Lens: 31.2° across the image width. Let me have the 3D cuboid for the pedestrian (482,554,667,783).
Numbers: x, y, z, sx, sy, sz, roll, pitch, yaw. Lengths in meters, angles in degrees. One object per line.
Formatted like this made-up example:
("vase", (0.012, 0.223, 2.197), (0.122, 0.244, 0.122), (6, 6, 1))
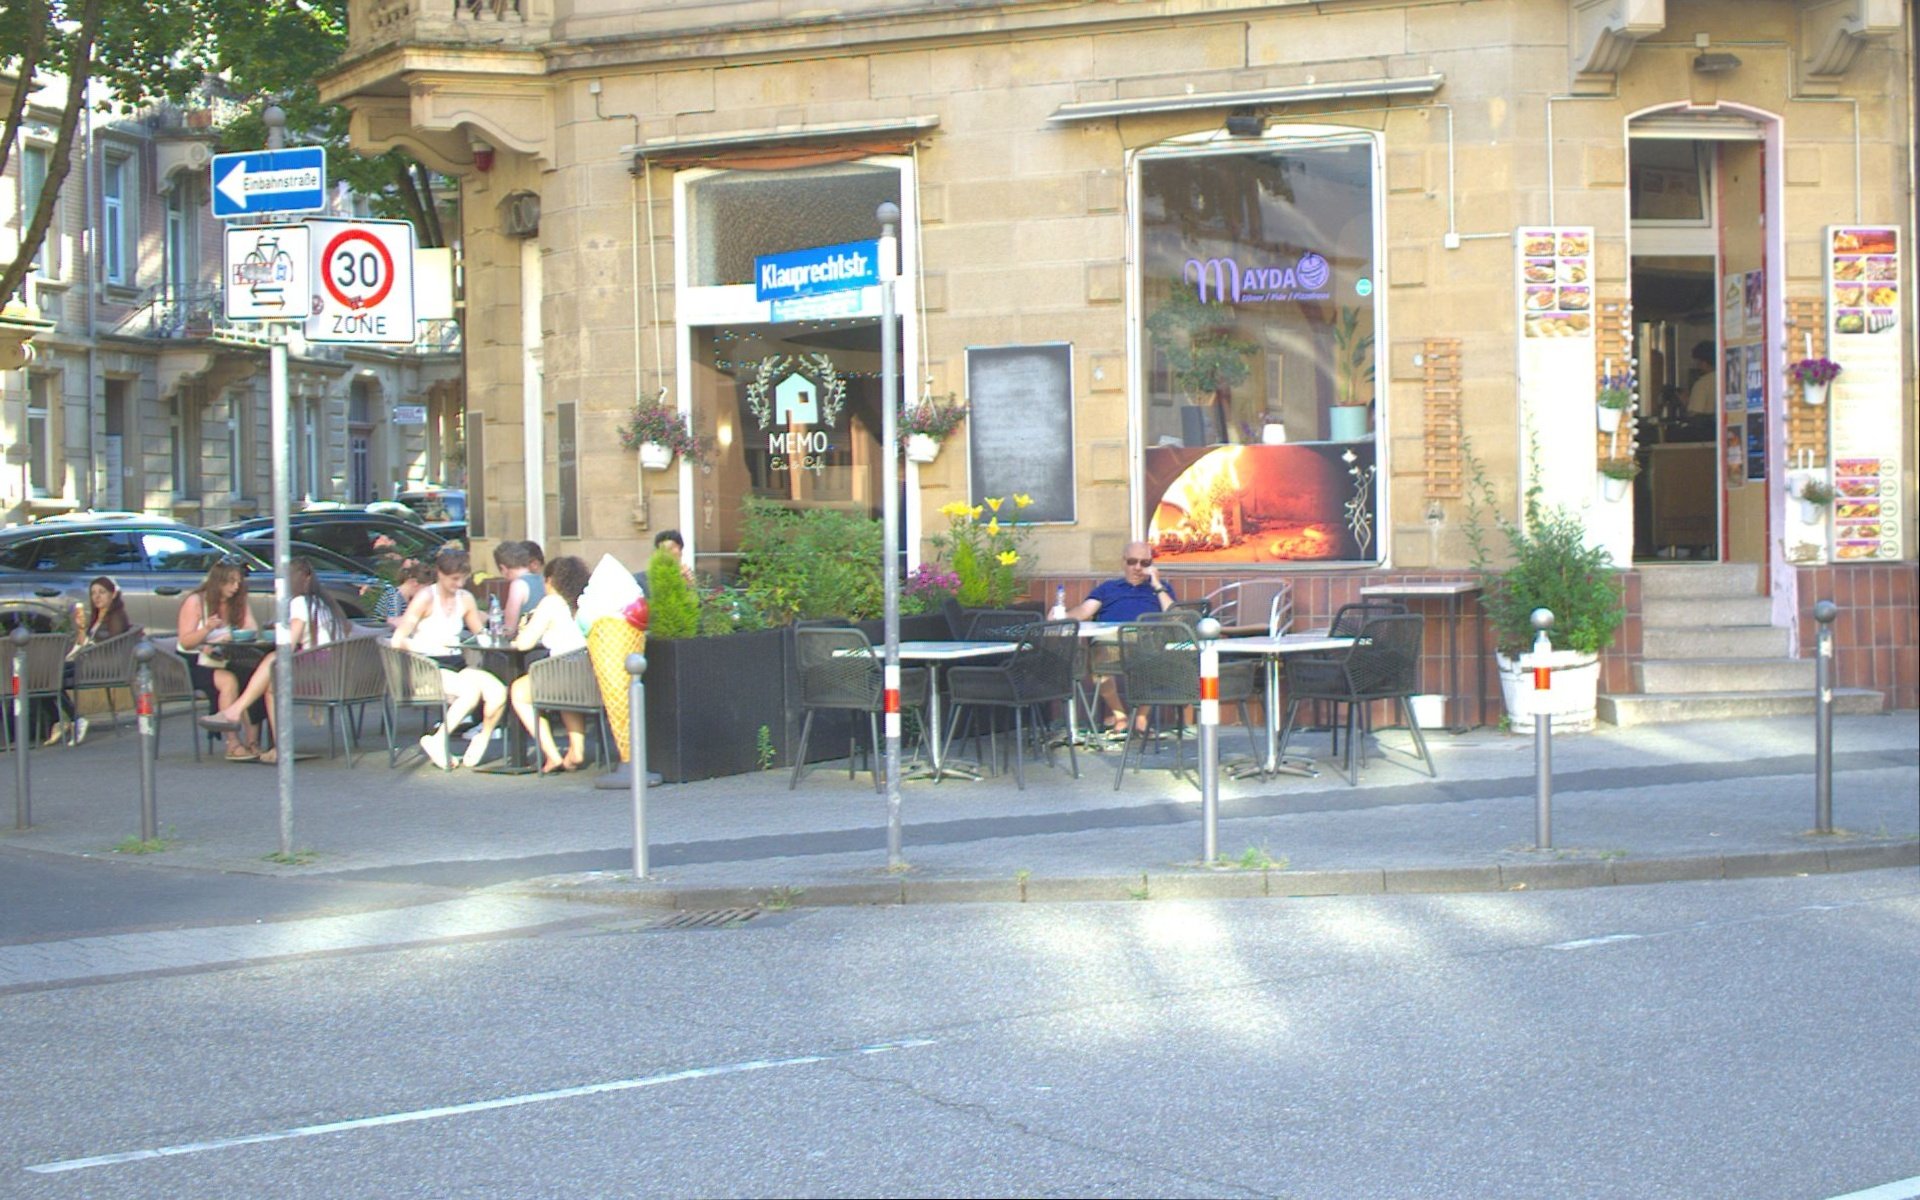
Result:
("pedestrian", (-2.244, 0.383, 20.014), (0.744, 1.285, 0.741), (0, 2, 35))

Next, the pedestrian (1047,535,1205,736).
("pedestrian", (1.036, 0.212, 21.350), (0.726, 1.209, 0.756), (0, 1, 26))

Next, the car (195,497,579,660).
("car", (-6.393, -0.264, 38.212), (3.986, 1.678, 2.001), (-1, 1, -16))

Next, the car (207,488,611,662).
("car", (-5.643, -0.281, 35.601), (3.986, 1.678, 2.000), (-1, 1, -6))

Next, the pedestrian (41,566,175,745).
("pedestrian", (-5.999, 0.384, 24.204), (0.675, 1.211, 0.668), (-3, 1, -35))

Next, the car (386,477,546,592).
("car", (-9.219, -1.238, 64.426), (1.807, 2.077, 3.750), (-1, 1, 11))

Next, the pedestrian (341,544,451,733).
("pedestrian", (-3.802, 0.253, 23.186), (0.482, 1.244, 0.509), (0, 2, 43))

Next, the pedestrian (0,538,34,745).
("pedestrian", (-7.026, 0.302, 24.174), (0.764, 1.437, 0.668), (-3, 1, -33))

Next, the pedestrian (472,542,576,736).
("pedestrian", (-2.862, 0.247, 22.570), (0.482, 1.244, 0.433), (0, 2, 43))

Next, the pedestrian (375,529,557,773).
("pedestrian", (-2.939, 0.291, 20.478), (0.756, 1.406, 0.726), (0, 1, 33))

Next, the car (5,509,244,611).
("car", (-11.877, -0.596, 49.114), (1.924, 1.371, 3.750), (-1, 1, 11))

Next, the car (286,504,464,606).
("car", (-10.027, -0.799, 59.207), (1.807, 1.678, 3.750), (-1, 1, 11))

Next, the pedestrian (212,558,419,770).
("pedestrian", (-3.977, 0.378, 21.198), (1.024, 1.244, 0.747), (0, 3, 42))

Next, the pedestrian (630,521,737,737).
("pedestrian", (-1.785, 0.182, 22.183), (0.481, 1.362, 0.433), (0, 2, 36))

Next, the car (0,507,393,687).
("car", (-7.394, -0.052, 32.128), (3.823, 1.556, 1.804), (-1, 1, -21))

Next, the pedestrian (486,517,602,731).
("pedestrian", (-2.829, 0.156, 23.374), (0.569, 1.426, 0.481), (0, 2, 34))

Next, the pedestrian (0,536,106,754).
("pedestrian", (-6.318, 0.300, 23.378), (0.764, 1.437, 0.668), (-3, 1, -33))

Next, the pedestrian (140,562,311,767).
("pedestrian", (-4.657, 0.392, 21.803), (0.706, 1.244, 0.747), (0, 3, 43))
